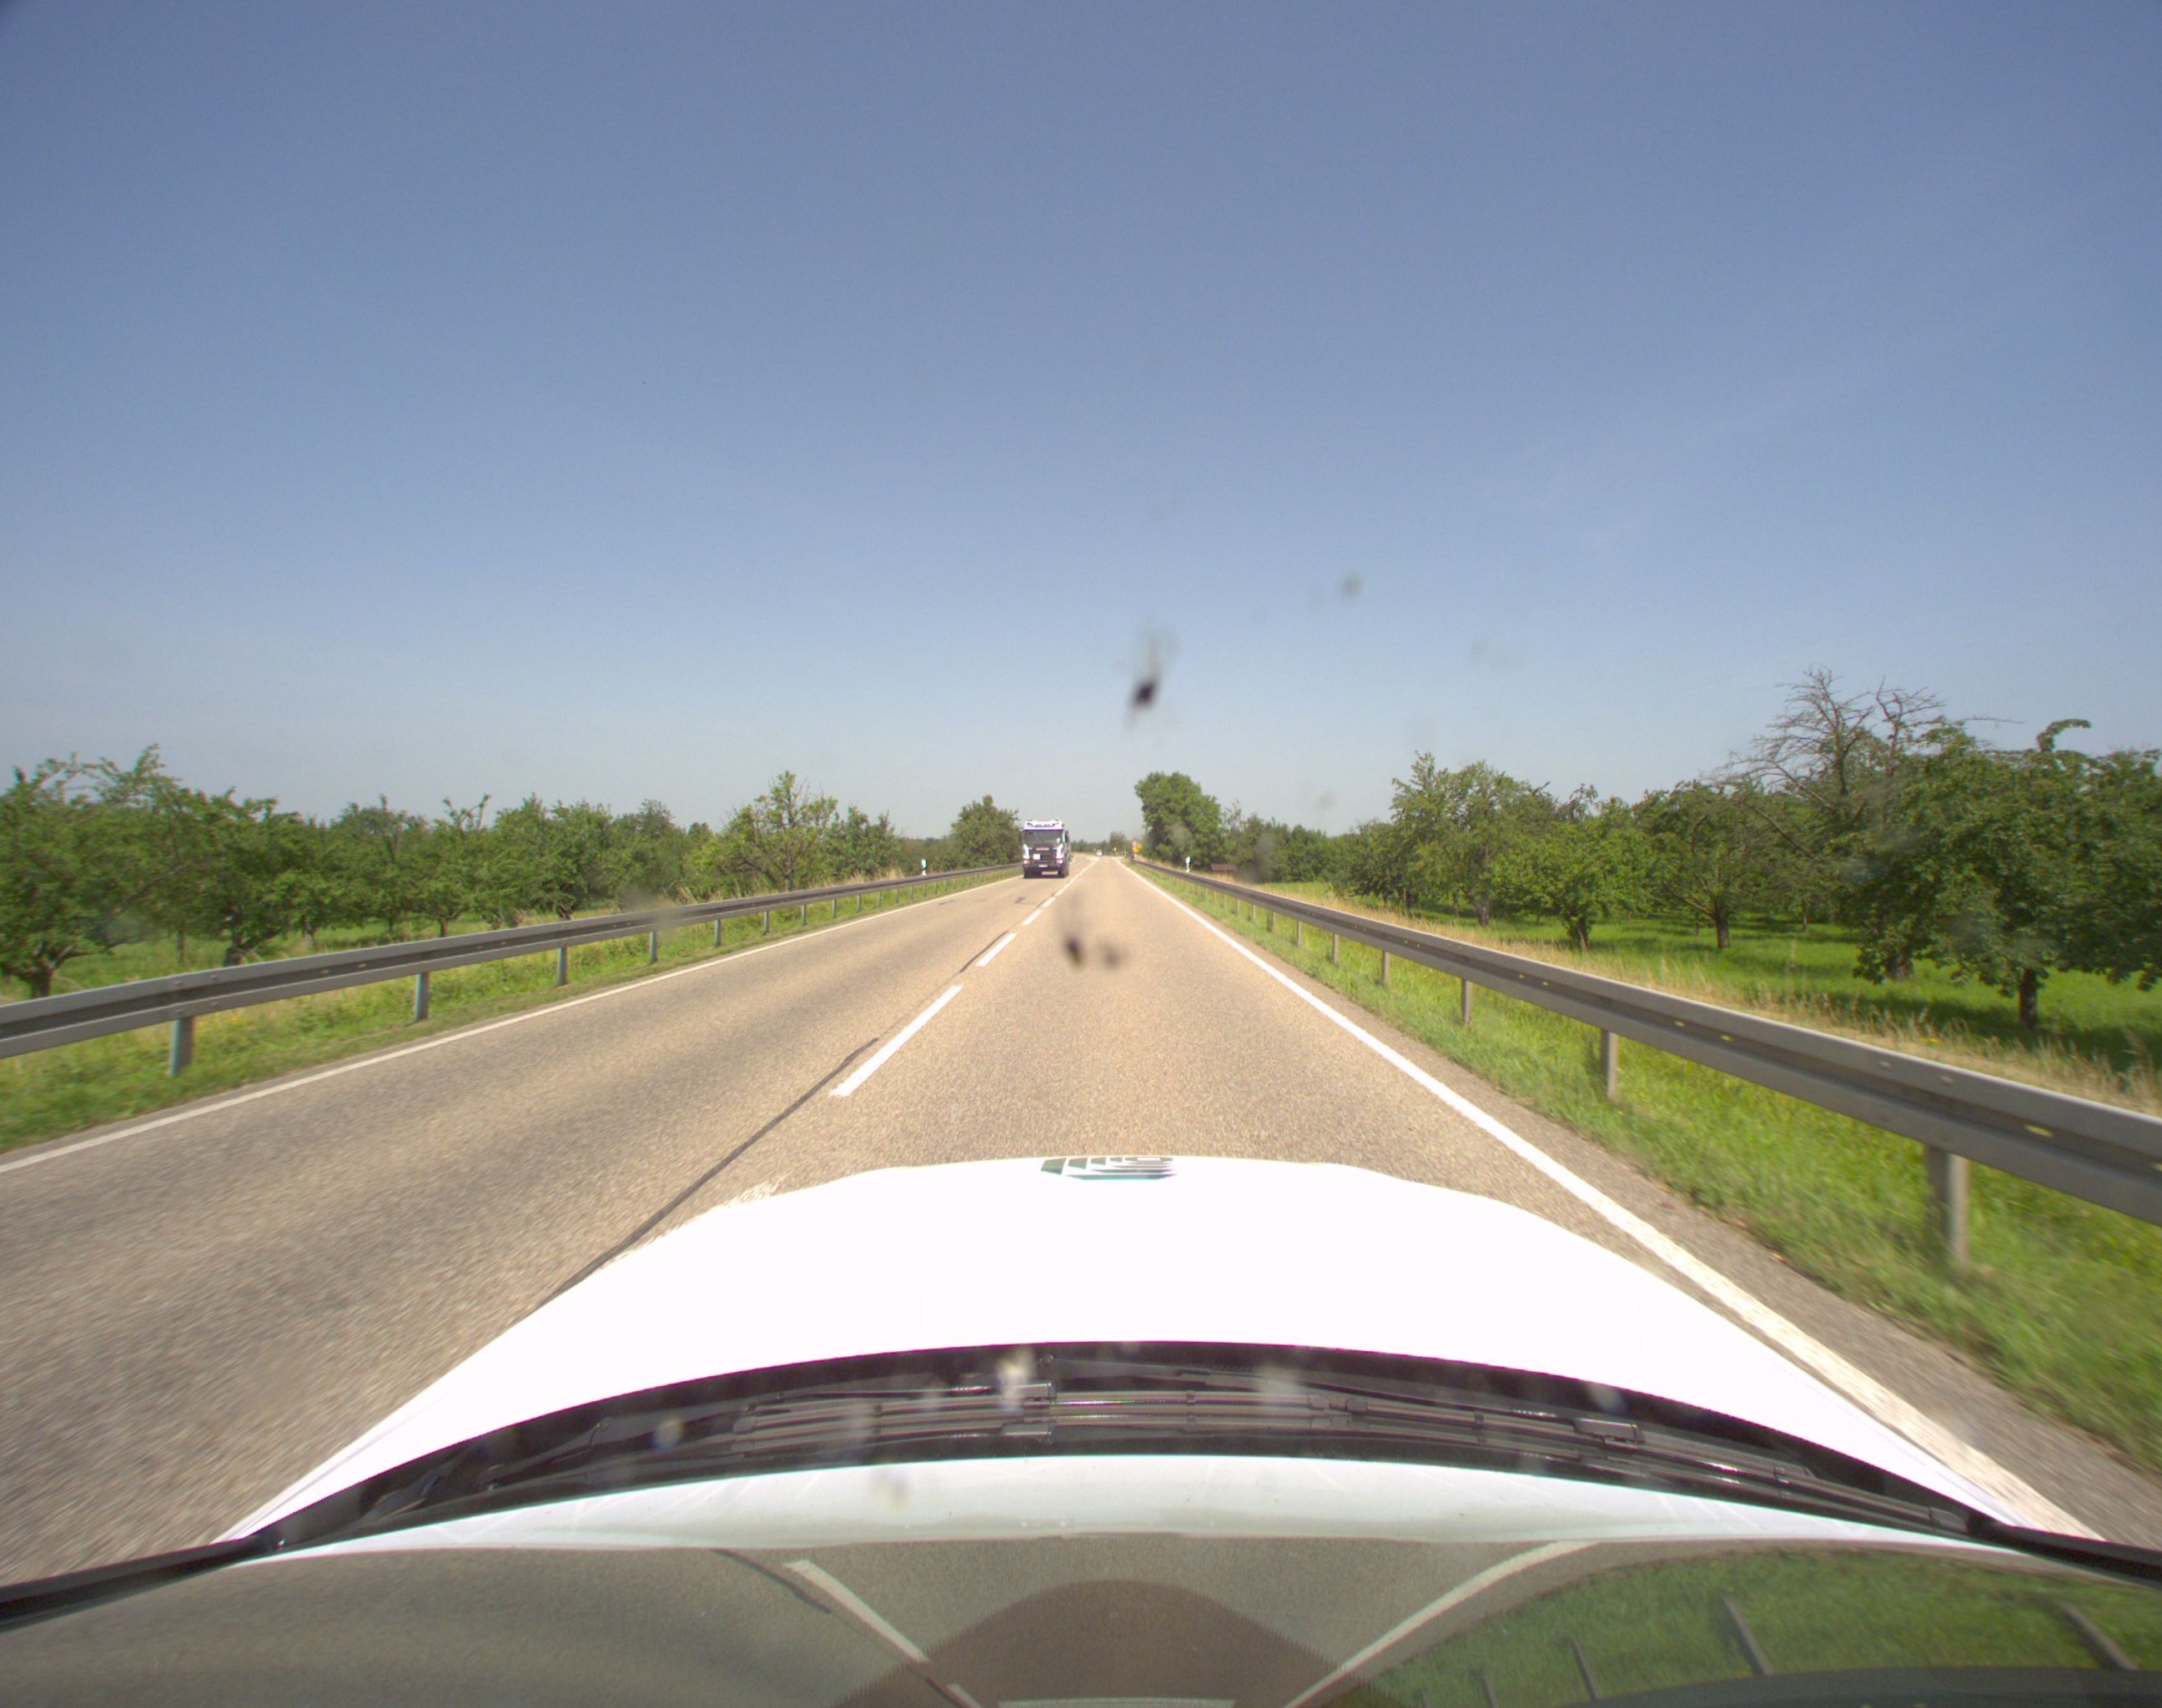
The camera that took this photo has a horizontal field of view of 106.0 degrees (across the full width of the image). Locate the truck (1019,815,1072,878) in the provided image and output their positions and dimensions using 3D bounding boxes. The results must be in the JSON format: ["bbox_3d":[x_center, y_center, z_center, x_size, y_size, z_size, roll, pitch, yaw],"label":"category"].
[{"bbox_3d":[-2.106,-0.416,52.226,2.718,3.672,9.386,-1,0,1],"label":"truck"}]
